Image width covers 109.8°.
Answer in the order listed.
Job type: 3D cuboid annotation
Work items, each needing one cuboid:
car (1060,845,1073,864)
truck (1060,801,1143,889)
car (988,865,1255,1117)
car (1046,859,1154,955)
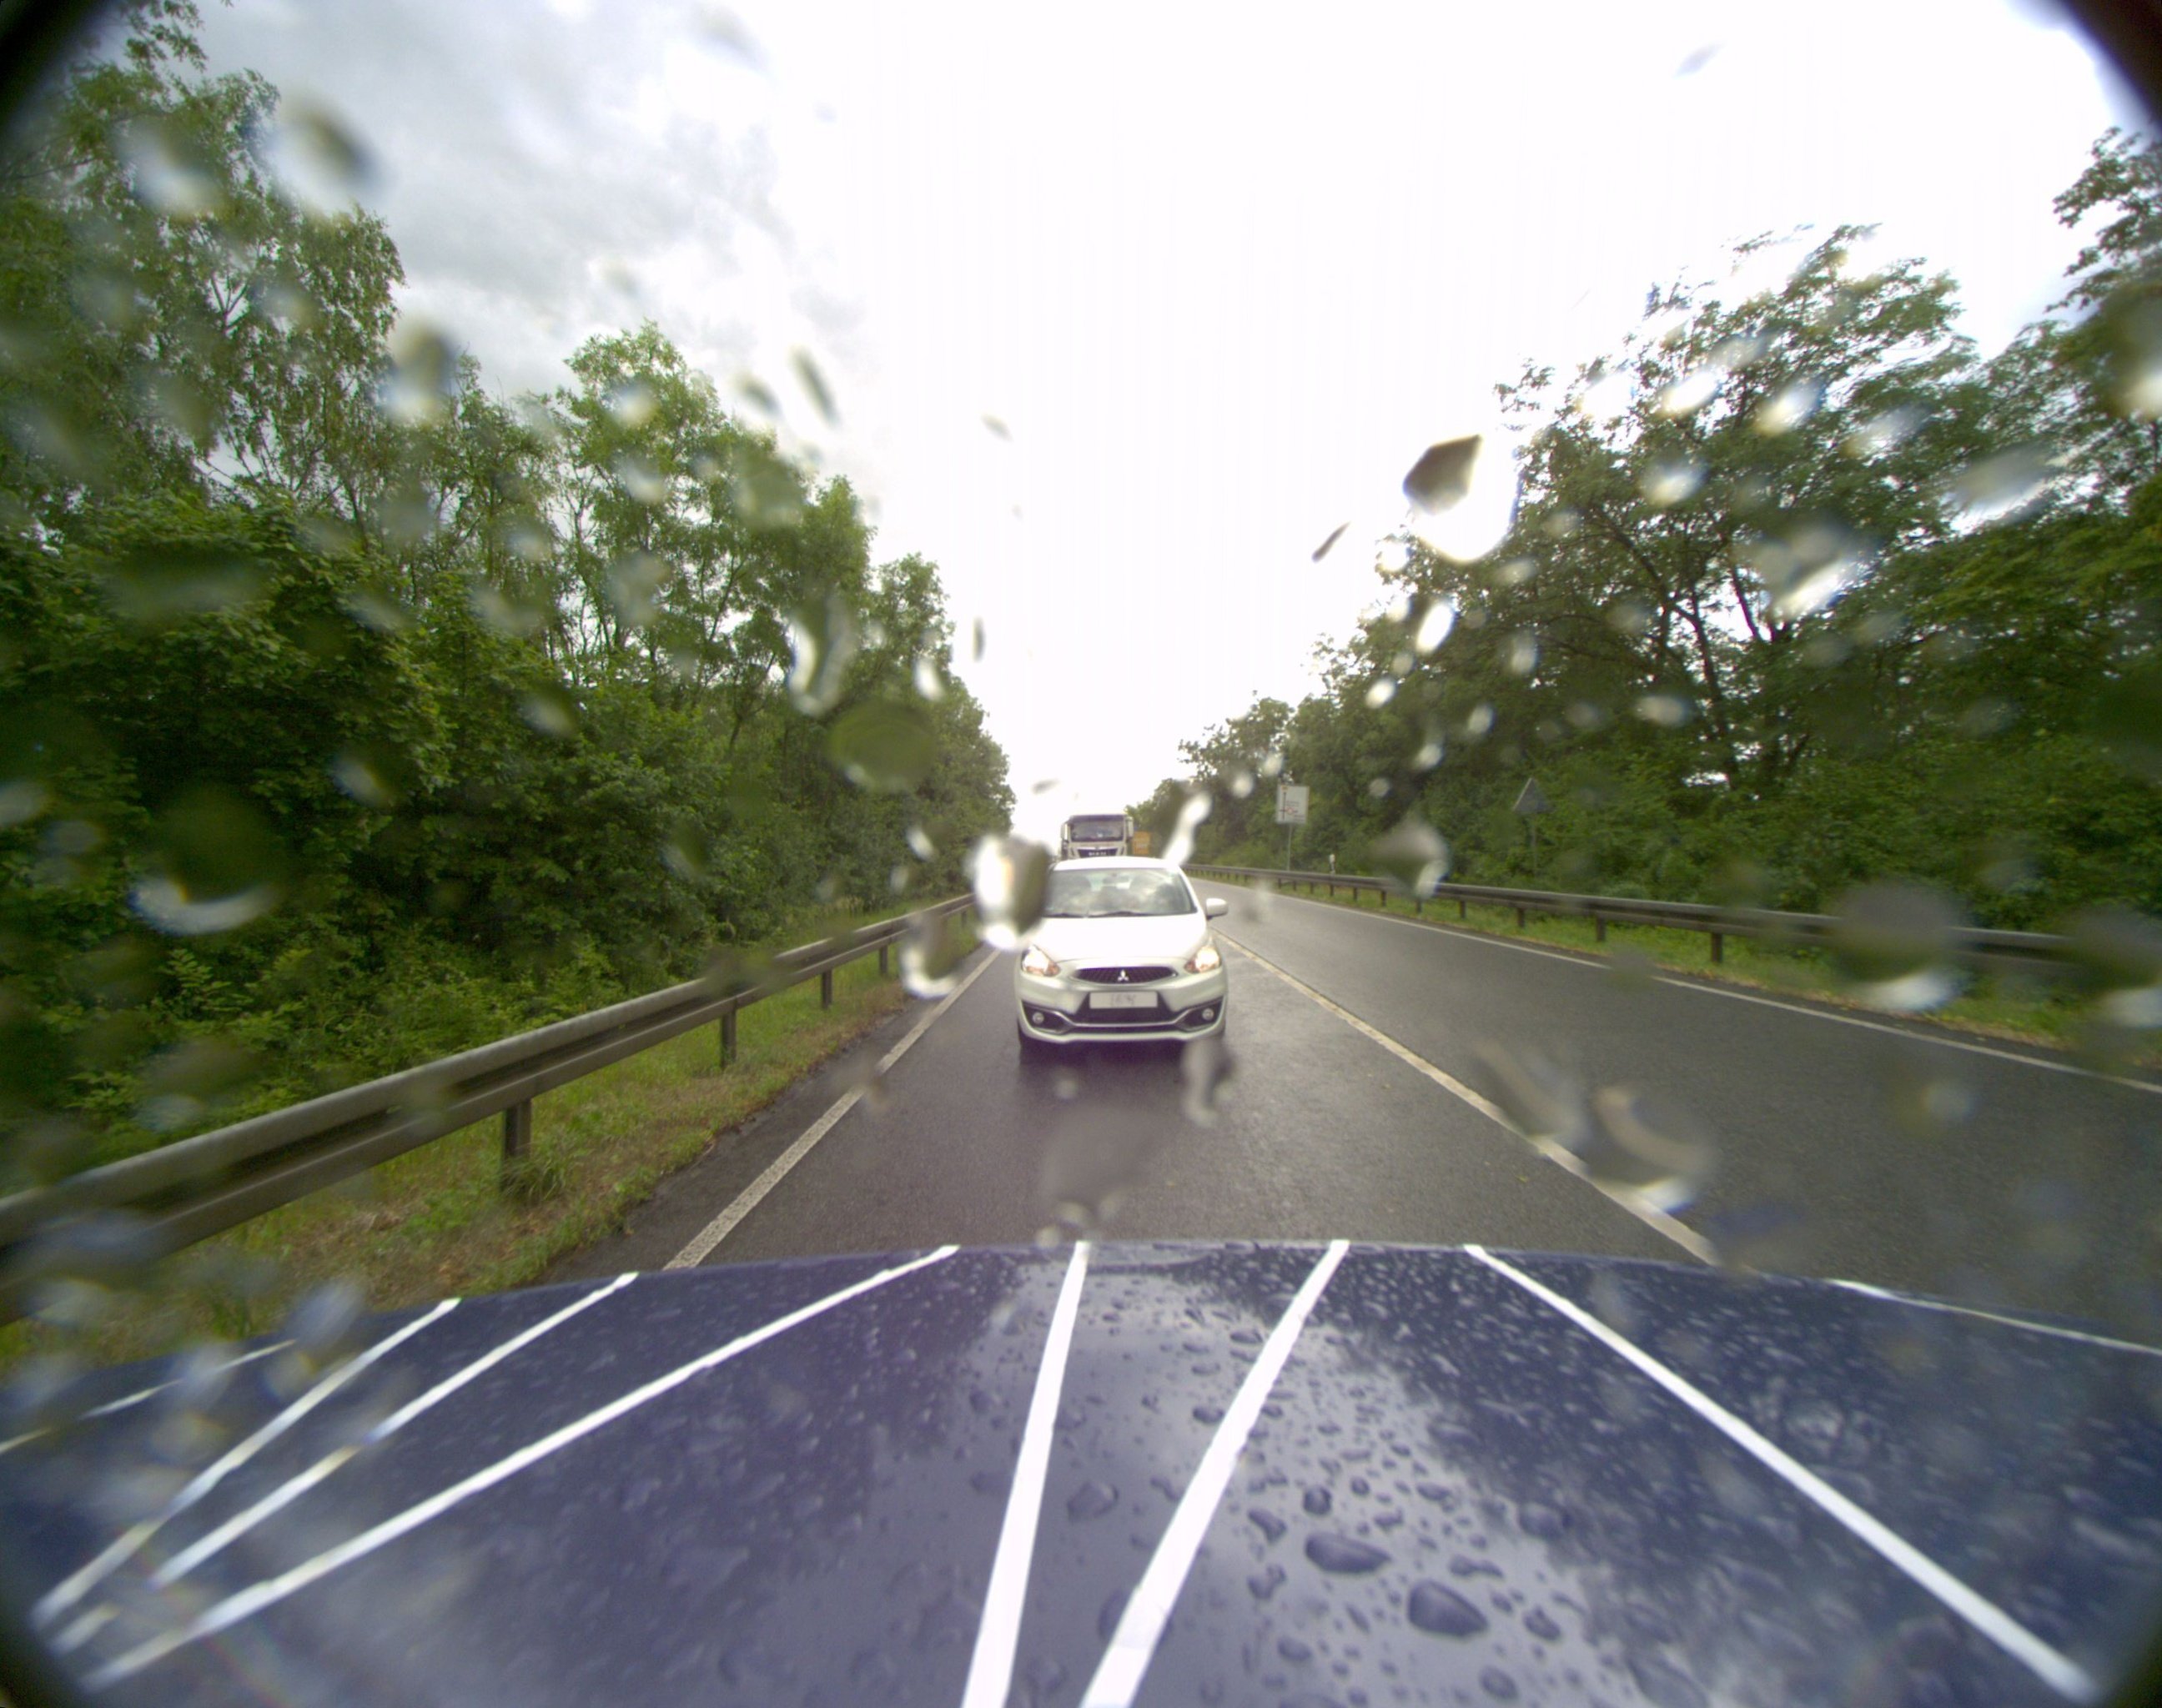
[{"bbox_3d":[-1.979,0.044,104.288,1.613,2.422,3.999,-2,1,0],"label":"car"},{"bbox_3d":[0.729,-0.434,34.693,3.136,3.364,9.281,-2,1,-1],"label":"truck"},{"bbox_3d":[0.309,0.893,6.861,1.610,1.435,4.209,-2,0,2],"label":"car"},{"bbox_3d":[0.363,0.849,14.176,1.640,1.413,4.492,-2,0,2],"label":"car"}]
